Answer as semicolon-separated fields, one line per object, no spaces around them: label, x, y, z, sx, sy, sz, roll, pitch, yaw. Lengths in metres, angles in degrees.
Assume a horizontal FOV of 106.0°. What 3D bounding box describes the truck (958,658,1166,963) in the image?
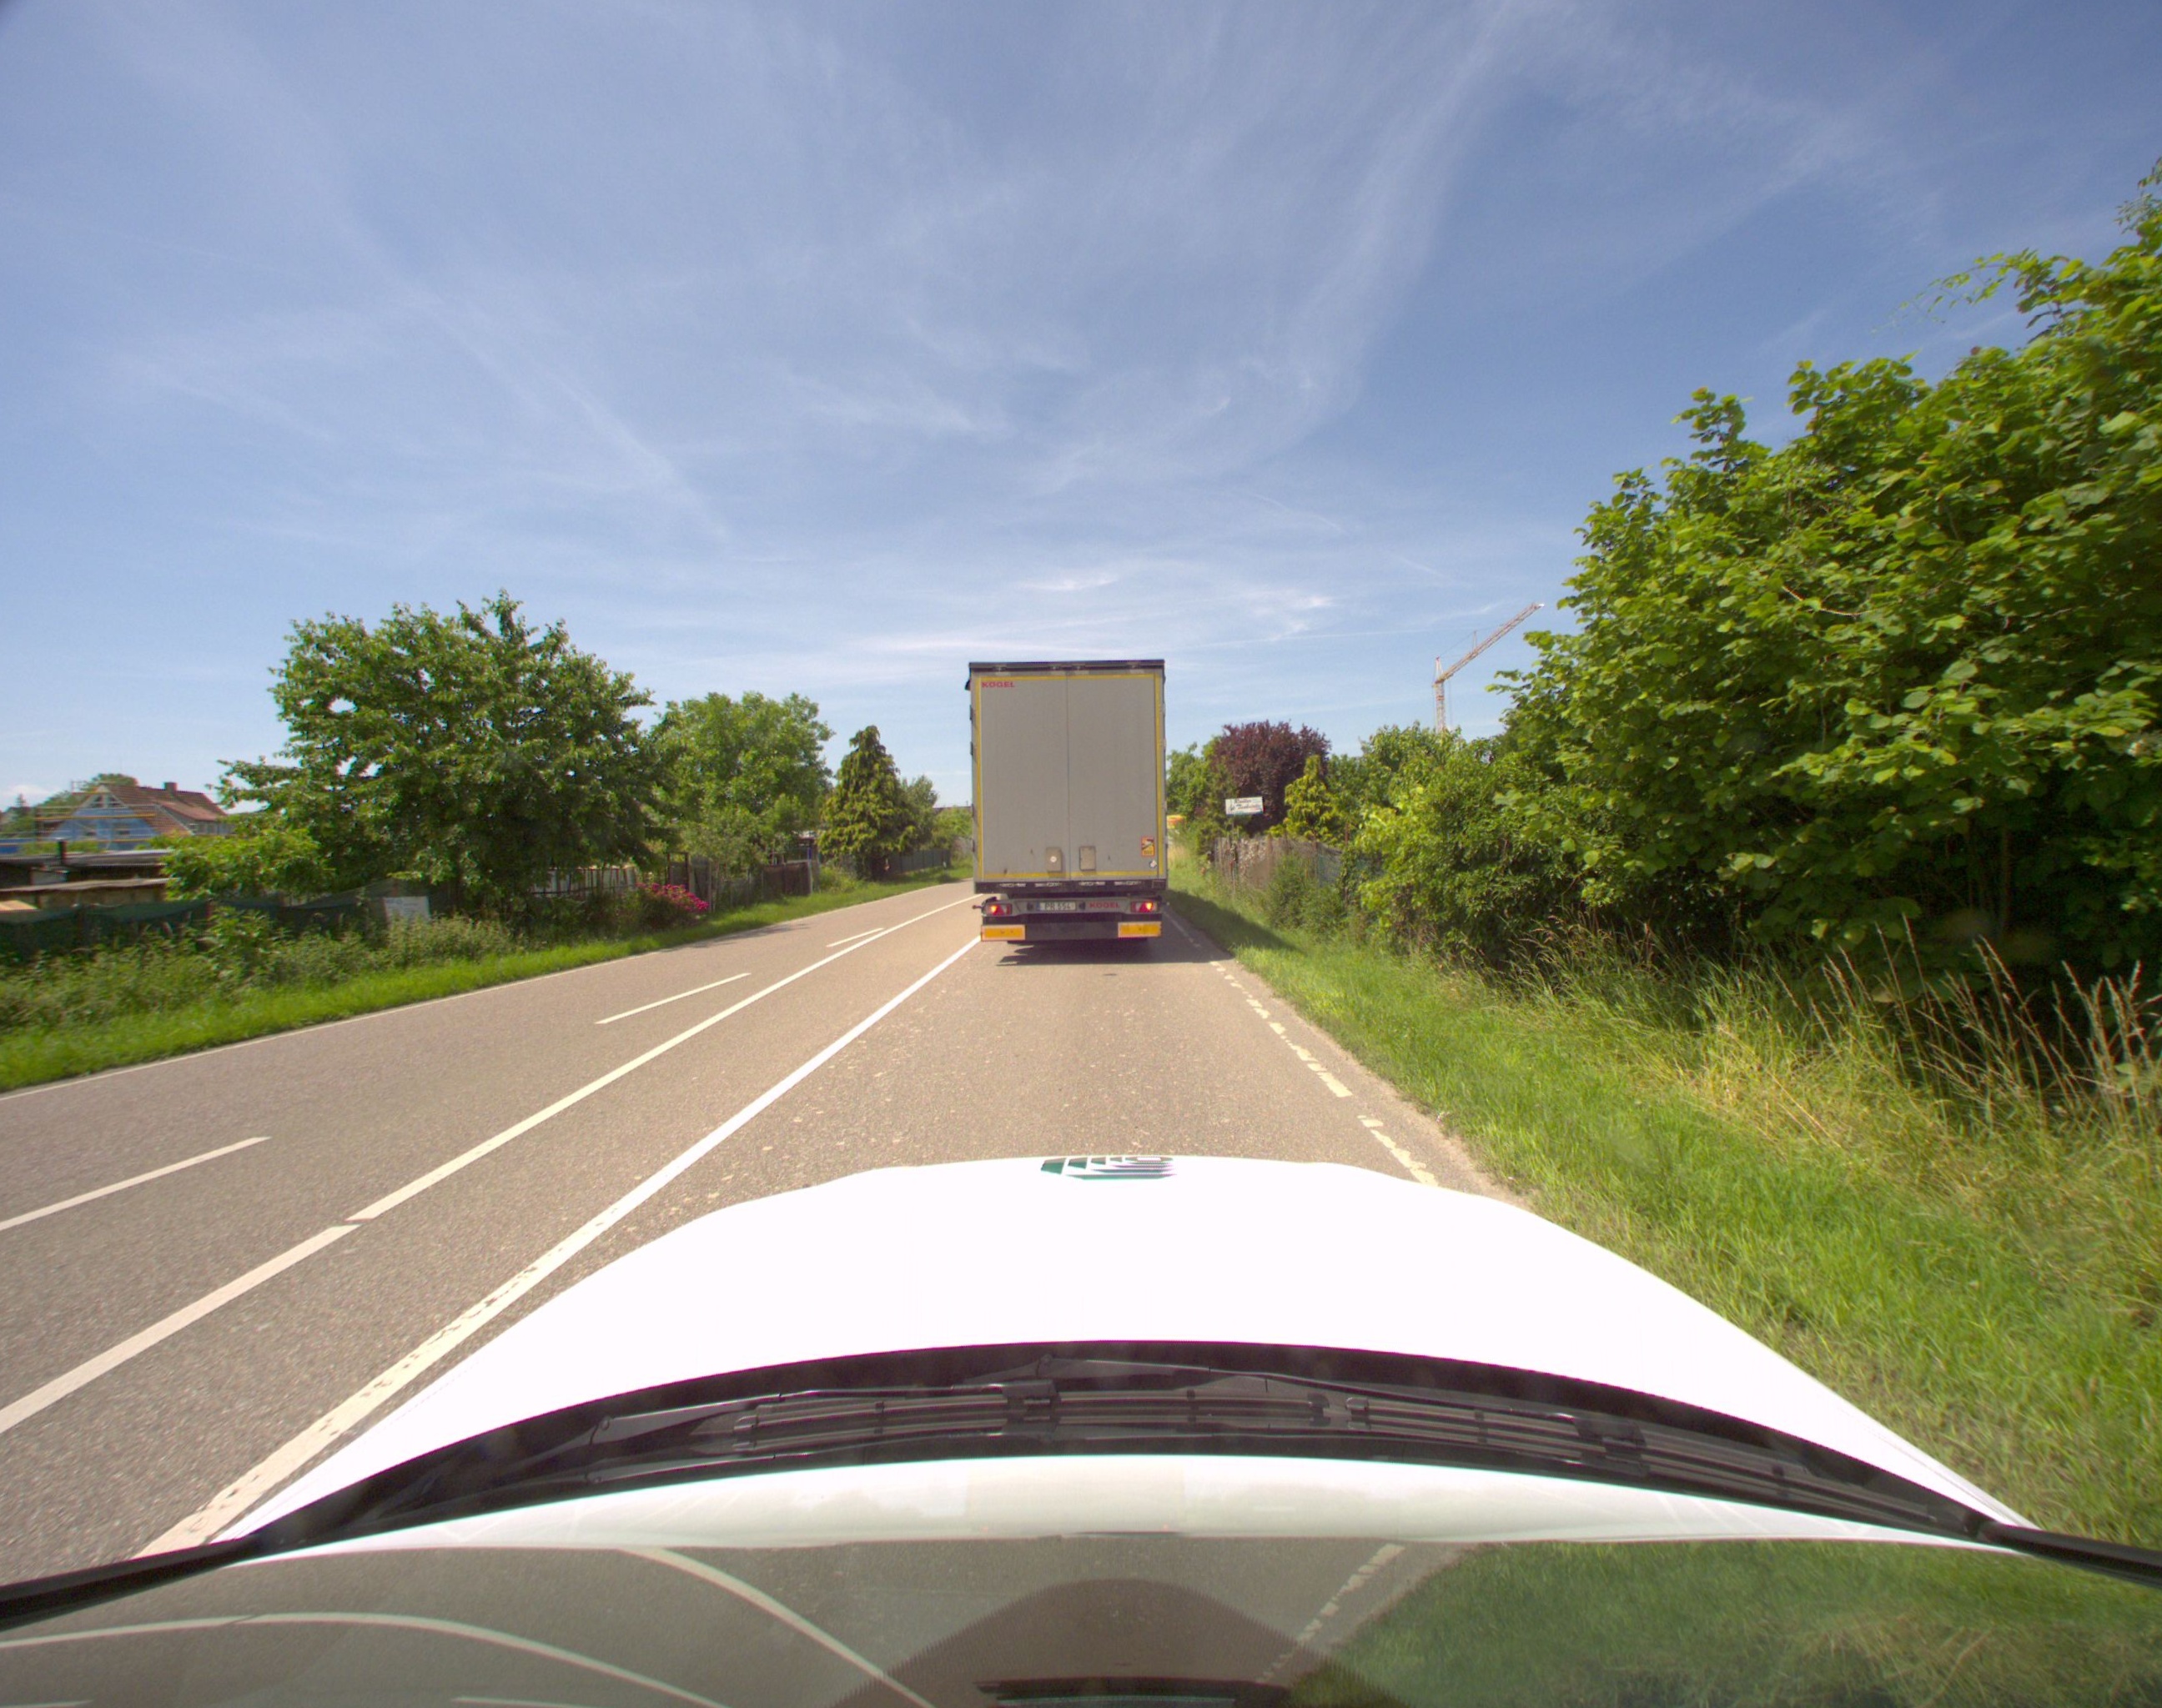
truck;-0.258;-0.603;14.995;2.639;3.917;8.823;-1;0;0
